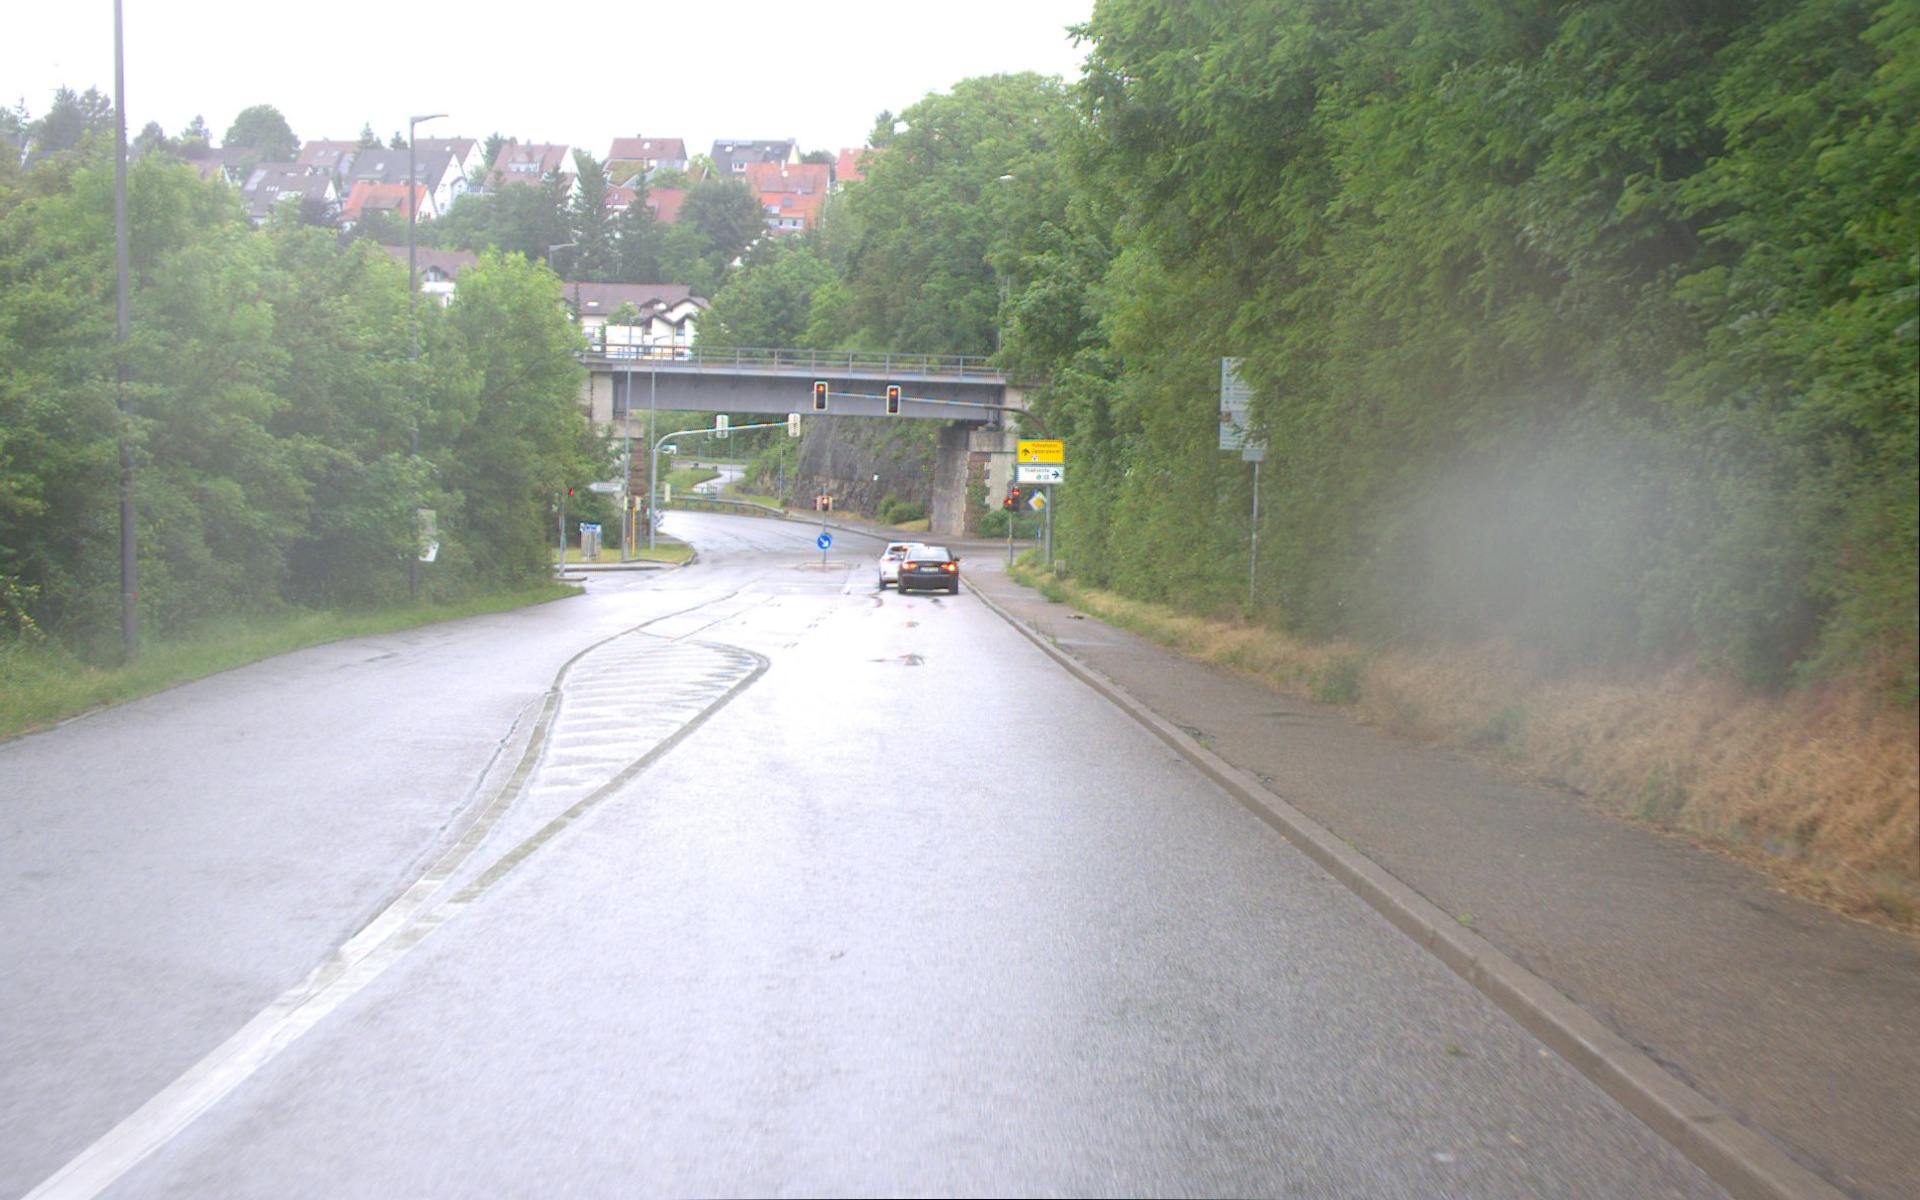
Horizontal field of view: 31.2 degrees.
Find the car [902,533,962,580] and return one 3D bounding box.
[{"bbox_3d":[-0.819,-1.295,102.145,1.768,1.375,4.000,0,1,0],"label":"car"}]

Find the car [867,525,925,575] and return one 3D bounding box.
[{"bbox_3d":[-2.017,-1.579,108.855,1.768,1.557,4.000,0,1,0],"label":"car"}]
